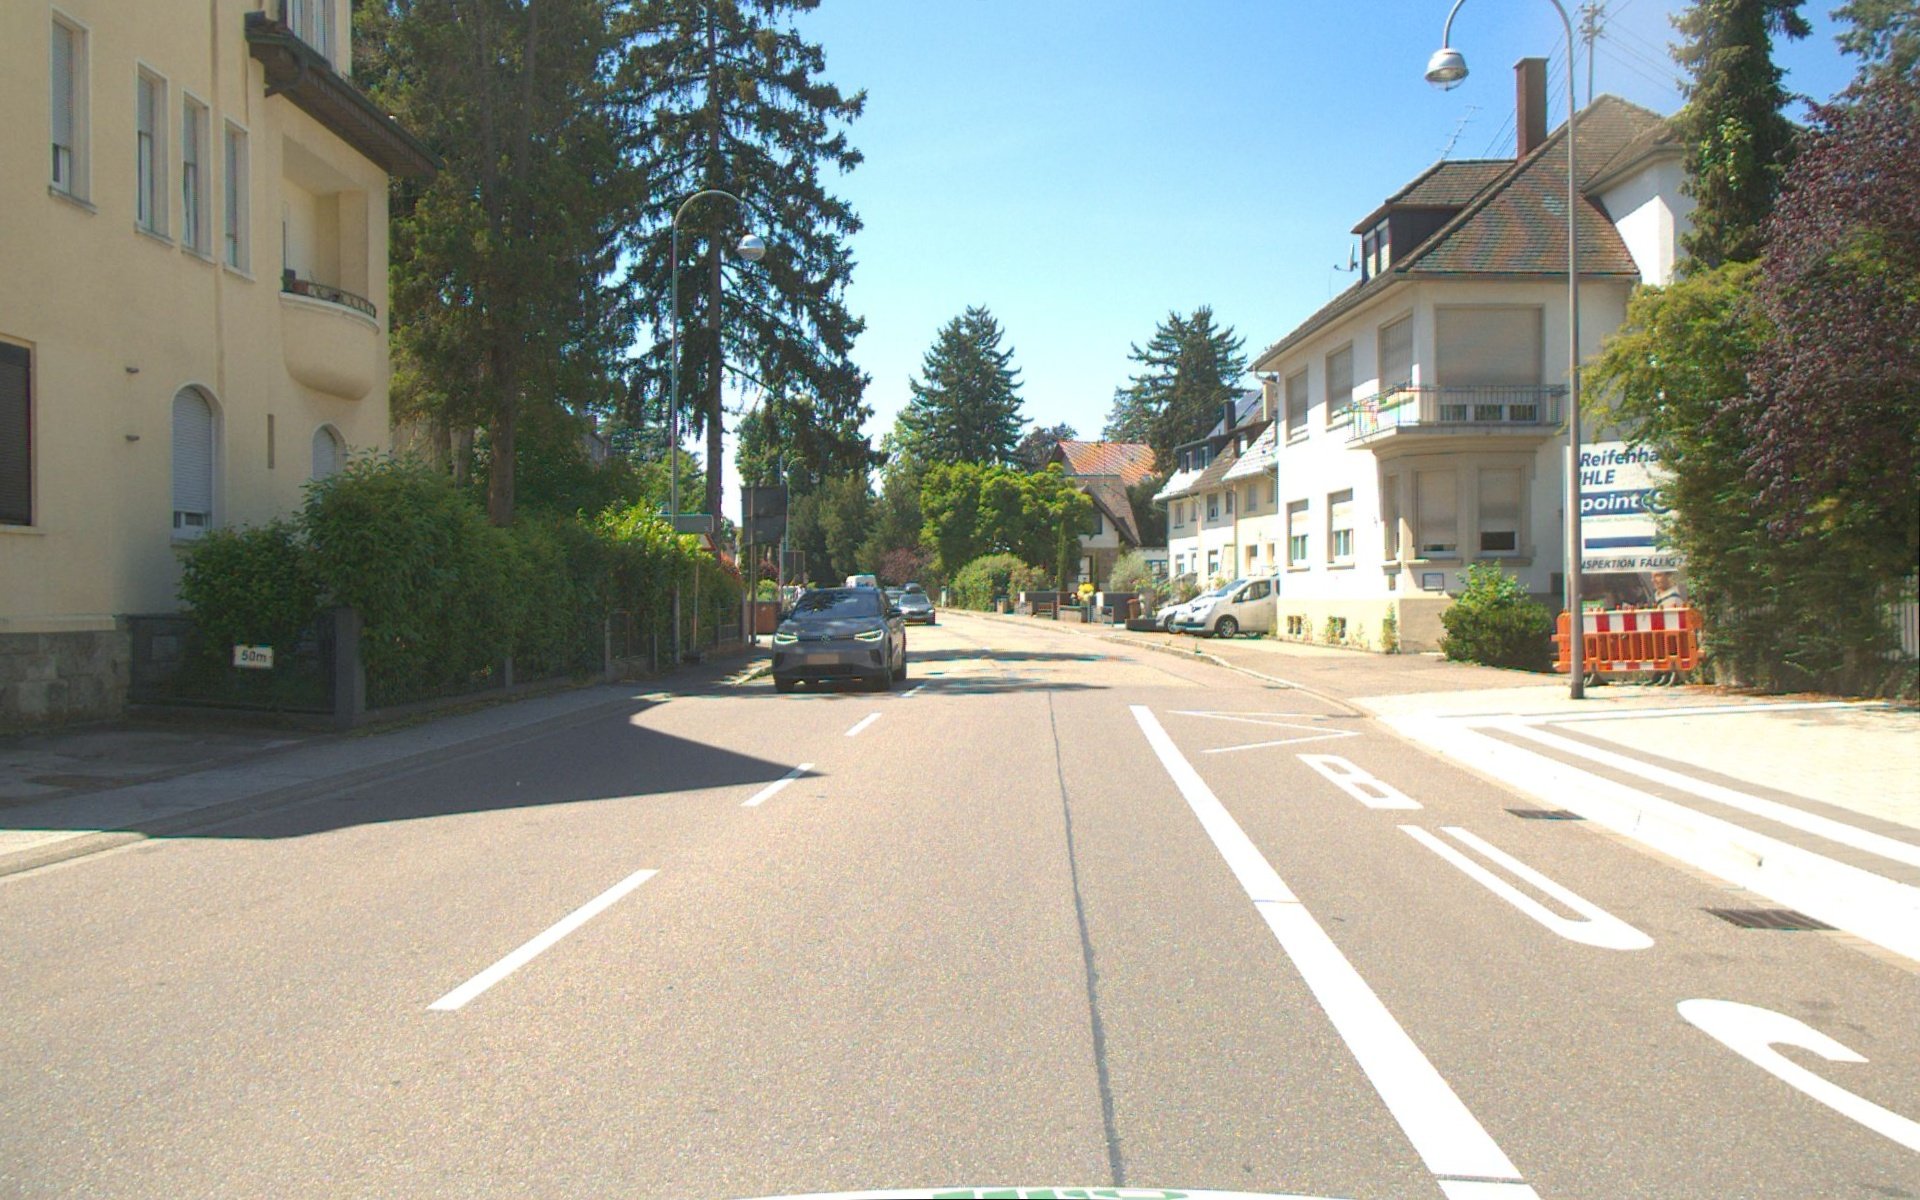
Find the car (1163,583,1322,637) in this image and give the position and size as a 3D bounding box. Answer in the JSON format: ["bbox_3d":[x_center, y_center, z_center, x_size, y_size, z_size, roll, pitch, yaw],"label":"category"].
[{"bbox_3d":[8.743,0.287,51.332,4.547,1.433,1.768,3,0,-3],"label":"car"}]

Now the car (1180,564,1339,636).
[{"bbox_3d":[8.779,-0.005,48.586,4.215,1.862,1.734,3,0,-12],"label":"car"}]

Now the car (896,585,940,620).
[{"bbox_3d":[-1.966,0.103,76.979,1.771,1.514,4.382,-2,1,-5],"label":"car"}]

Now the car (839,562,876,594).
[{"bbox_3d":[-8.076,-1.735,129.866,2.107,2.355,4.837,-2,1,-13],"label":"car"}]

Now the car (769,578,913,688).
[{"bbox_3d":[-1.868,0.487,27.249,1.814,1.645,4.298,0,0,3],"label":"car"}]

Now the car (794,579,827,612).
[{"bbox_3d":[-8.737,-0.276,96.663,1.690,1.766,3.880,-3,1,-7],"label":"car"}]

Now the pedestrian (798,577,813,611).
[{"bbox_3d":[-8.883,-0.345,95.061,0.675,1.922,1.018,4,-1,-2],"label":"pedestrian"}]

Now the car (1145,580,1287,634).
[{"bbox_3d":[8.372,0.230,54.094,4.209,1.575,1.753,2,-1,29],"label":"car"}]
